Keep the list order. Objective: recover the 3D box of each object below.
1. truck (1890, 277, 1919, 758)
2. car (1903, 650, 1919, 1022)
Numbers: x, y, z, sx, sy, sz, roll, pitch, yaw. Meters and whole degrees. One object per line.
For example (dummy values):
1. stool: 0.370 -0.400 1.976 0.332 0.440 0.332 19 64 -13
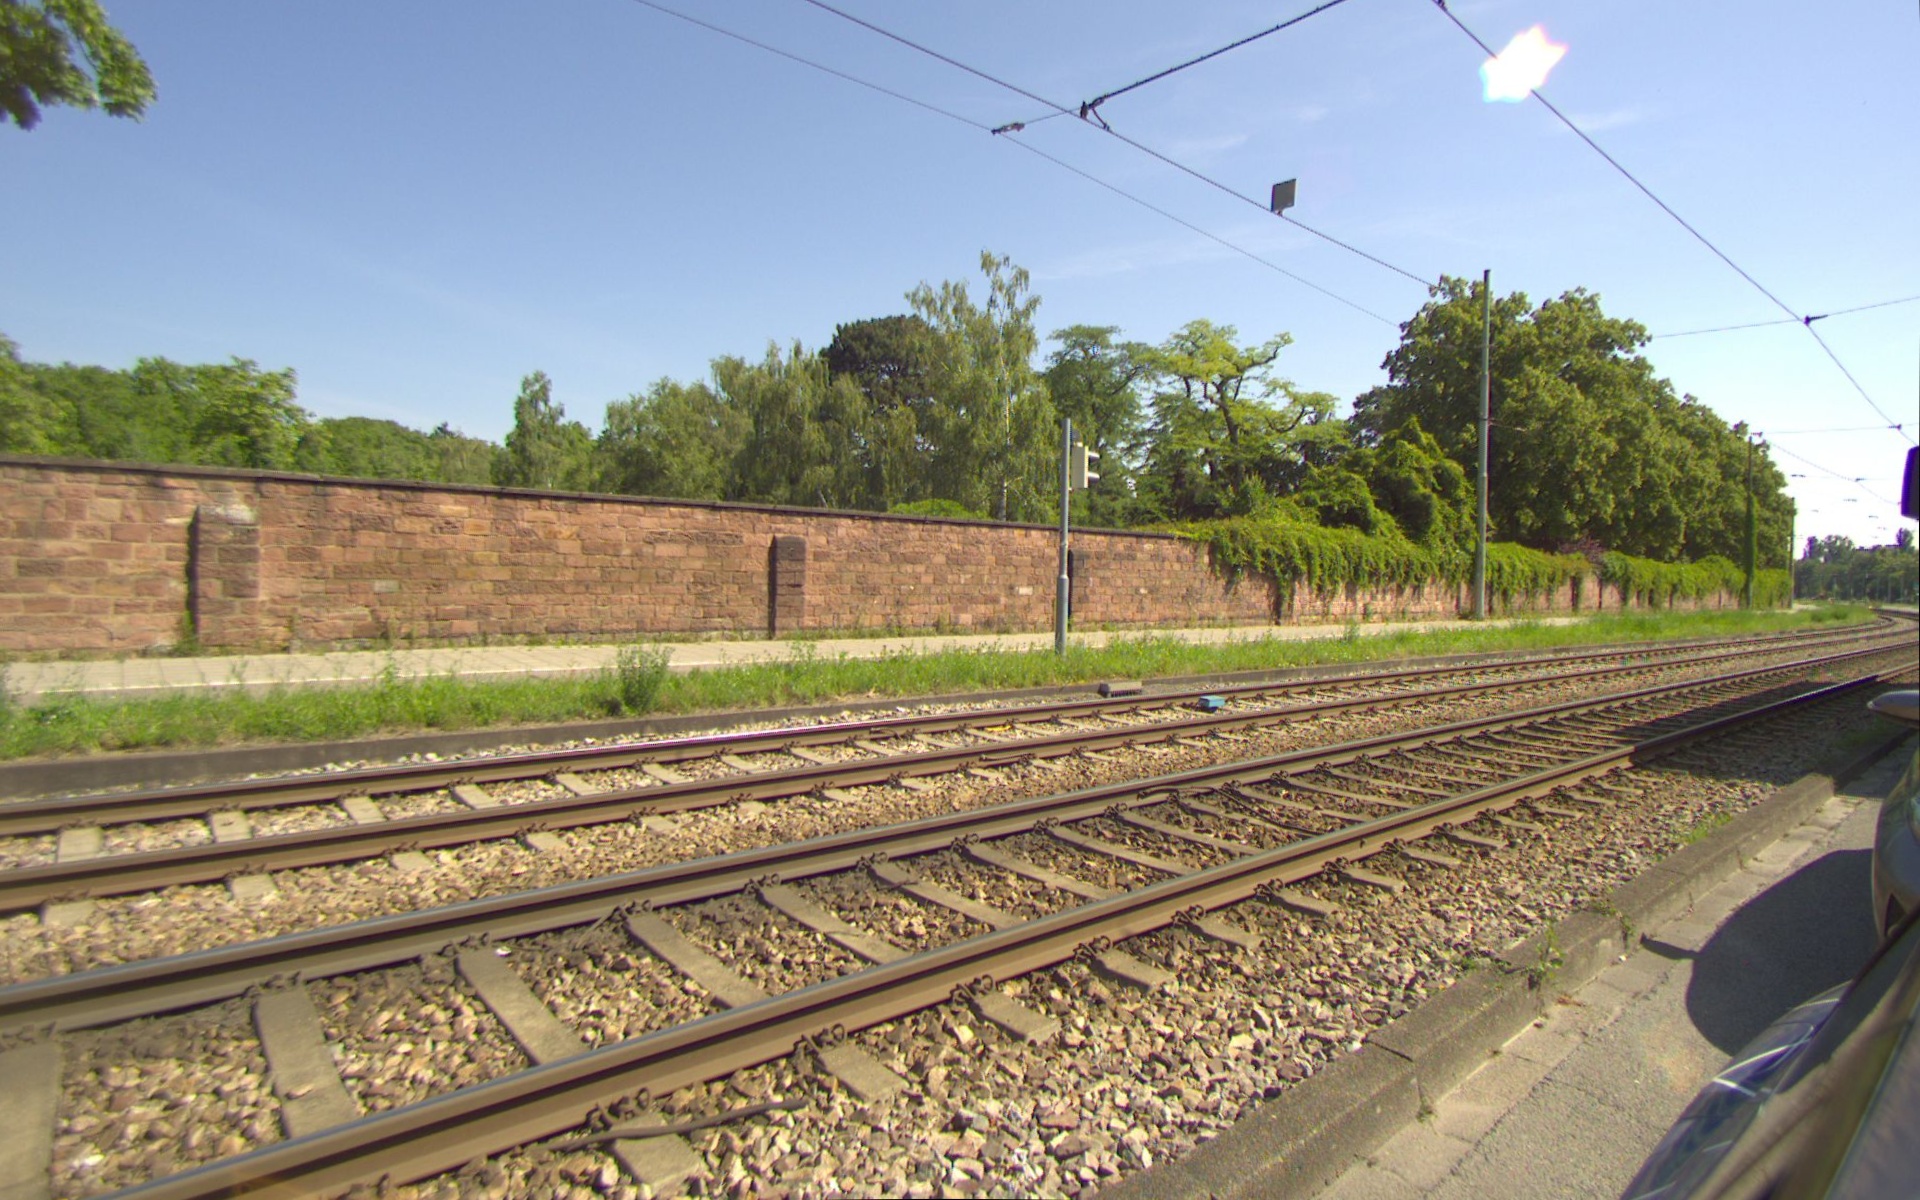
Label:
1. truck: 14.236 -0.628 12.038 14.652 3.927 2.934 0 2 -41
2. car: 5.070 0.666 3.961 3.930 1.448 1.573 0 2 -41
